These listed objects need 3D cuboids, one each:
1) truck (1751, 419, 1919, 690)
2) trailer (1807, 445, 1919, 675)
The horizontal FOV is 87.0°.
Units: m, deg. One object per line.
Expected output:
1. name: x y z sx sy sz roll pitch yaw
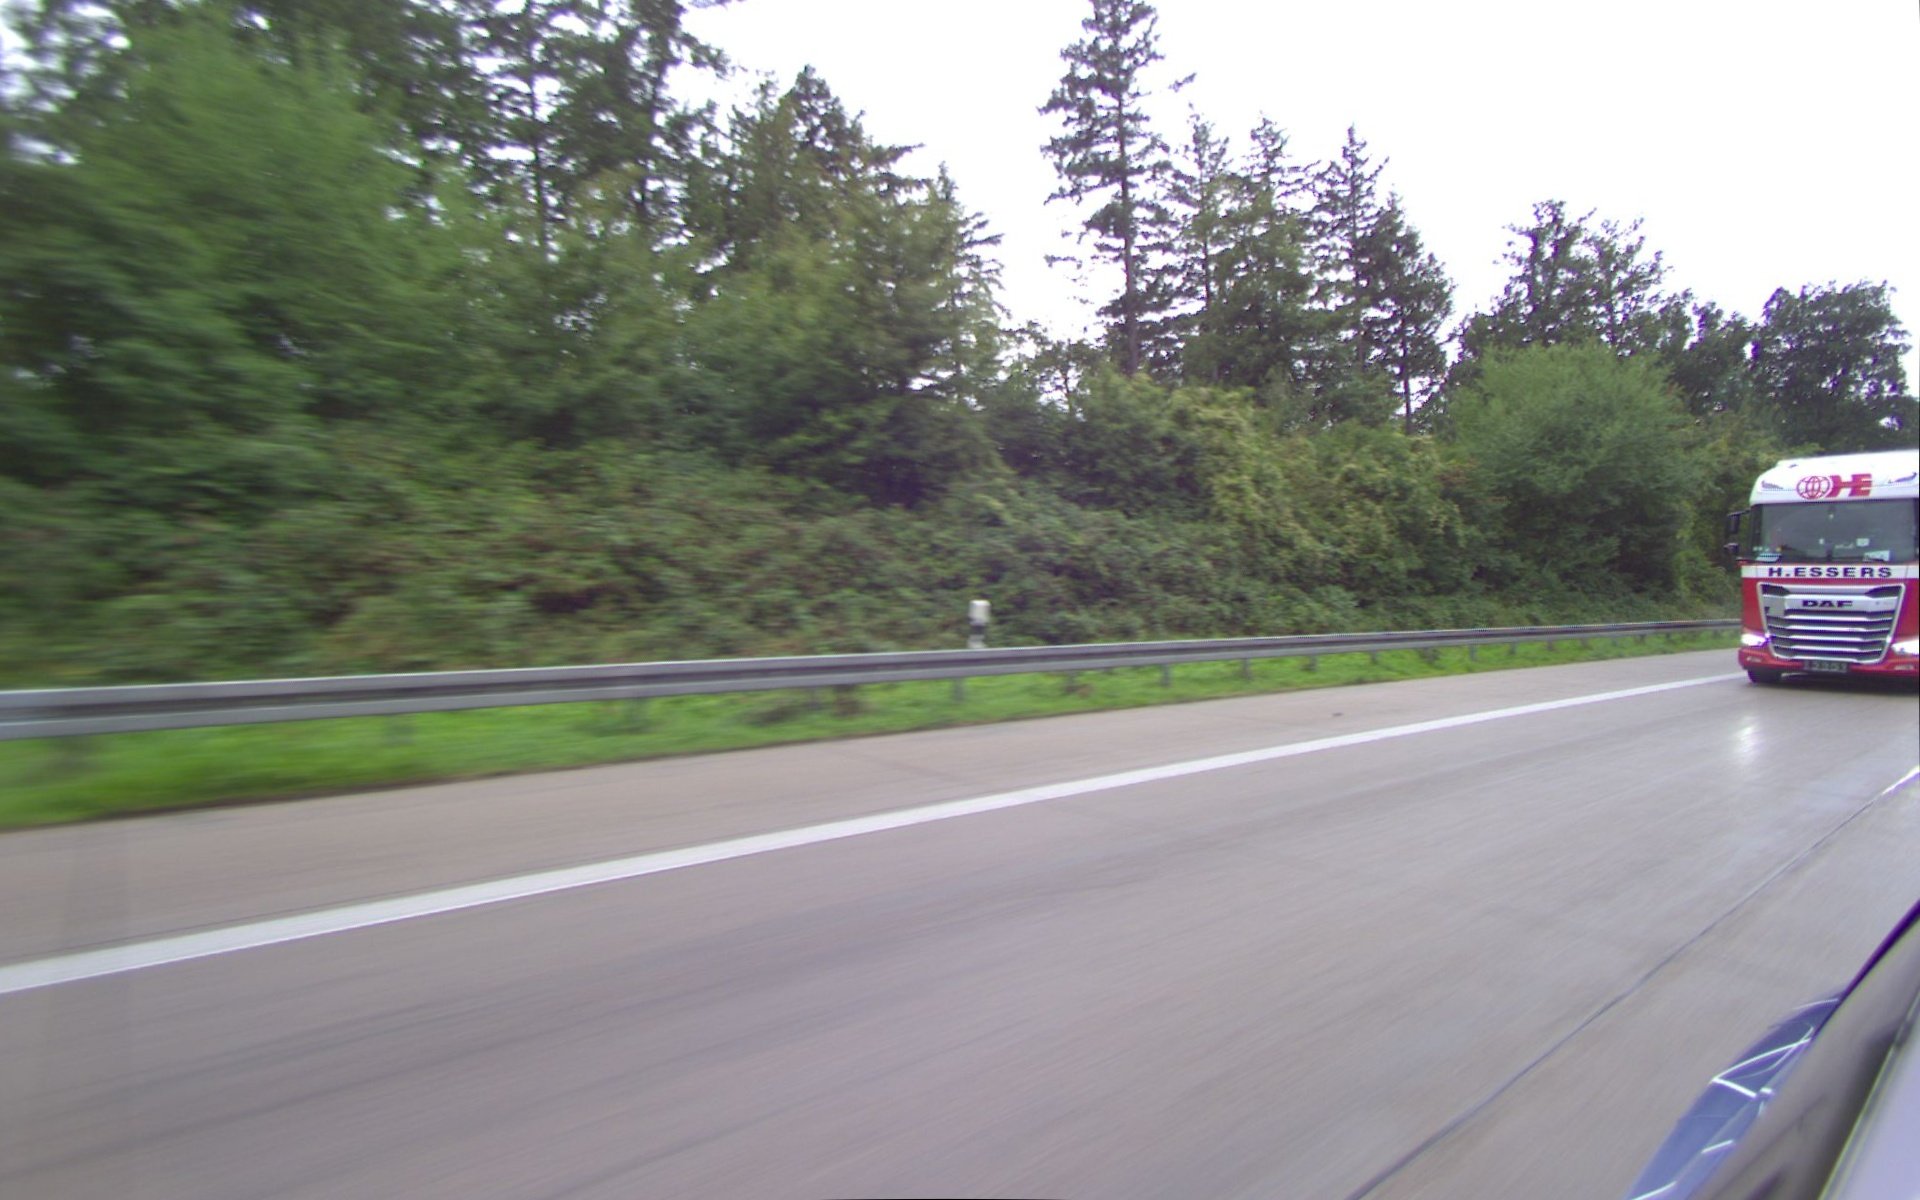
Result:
1. truck: 16.021 -0.684 17.479 6.048 4.003 2.381 0 0 -39
2. trailer: 21.337 -0.690 21.729 12.291 4.004 2.376 0 0 -38
